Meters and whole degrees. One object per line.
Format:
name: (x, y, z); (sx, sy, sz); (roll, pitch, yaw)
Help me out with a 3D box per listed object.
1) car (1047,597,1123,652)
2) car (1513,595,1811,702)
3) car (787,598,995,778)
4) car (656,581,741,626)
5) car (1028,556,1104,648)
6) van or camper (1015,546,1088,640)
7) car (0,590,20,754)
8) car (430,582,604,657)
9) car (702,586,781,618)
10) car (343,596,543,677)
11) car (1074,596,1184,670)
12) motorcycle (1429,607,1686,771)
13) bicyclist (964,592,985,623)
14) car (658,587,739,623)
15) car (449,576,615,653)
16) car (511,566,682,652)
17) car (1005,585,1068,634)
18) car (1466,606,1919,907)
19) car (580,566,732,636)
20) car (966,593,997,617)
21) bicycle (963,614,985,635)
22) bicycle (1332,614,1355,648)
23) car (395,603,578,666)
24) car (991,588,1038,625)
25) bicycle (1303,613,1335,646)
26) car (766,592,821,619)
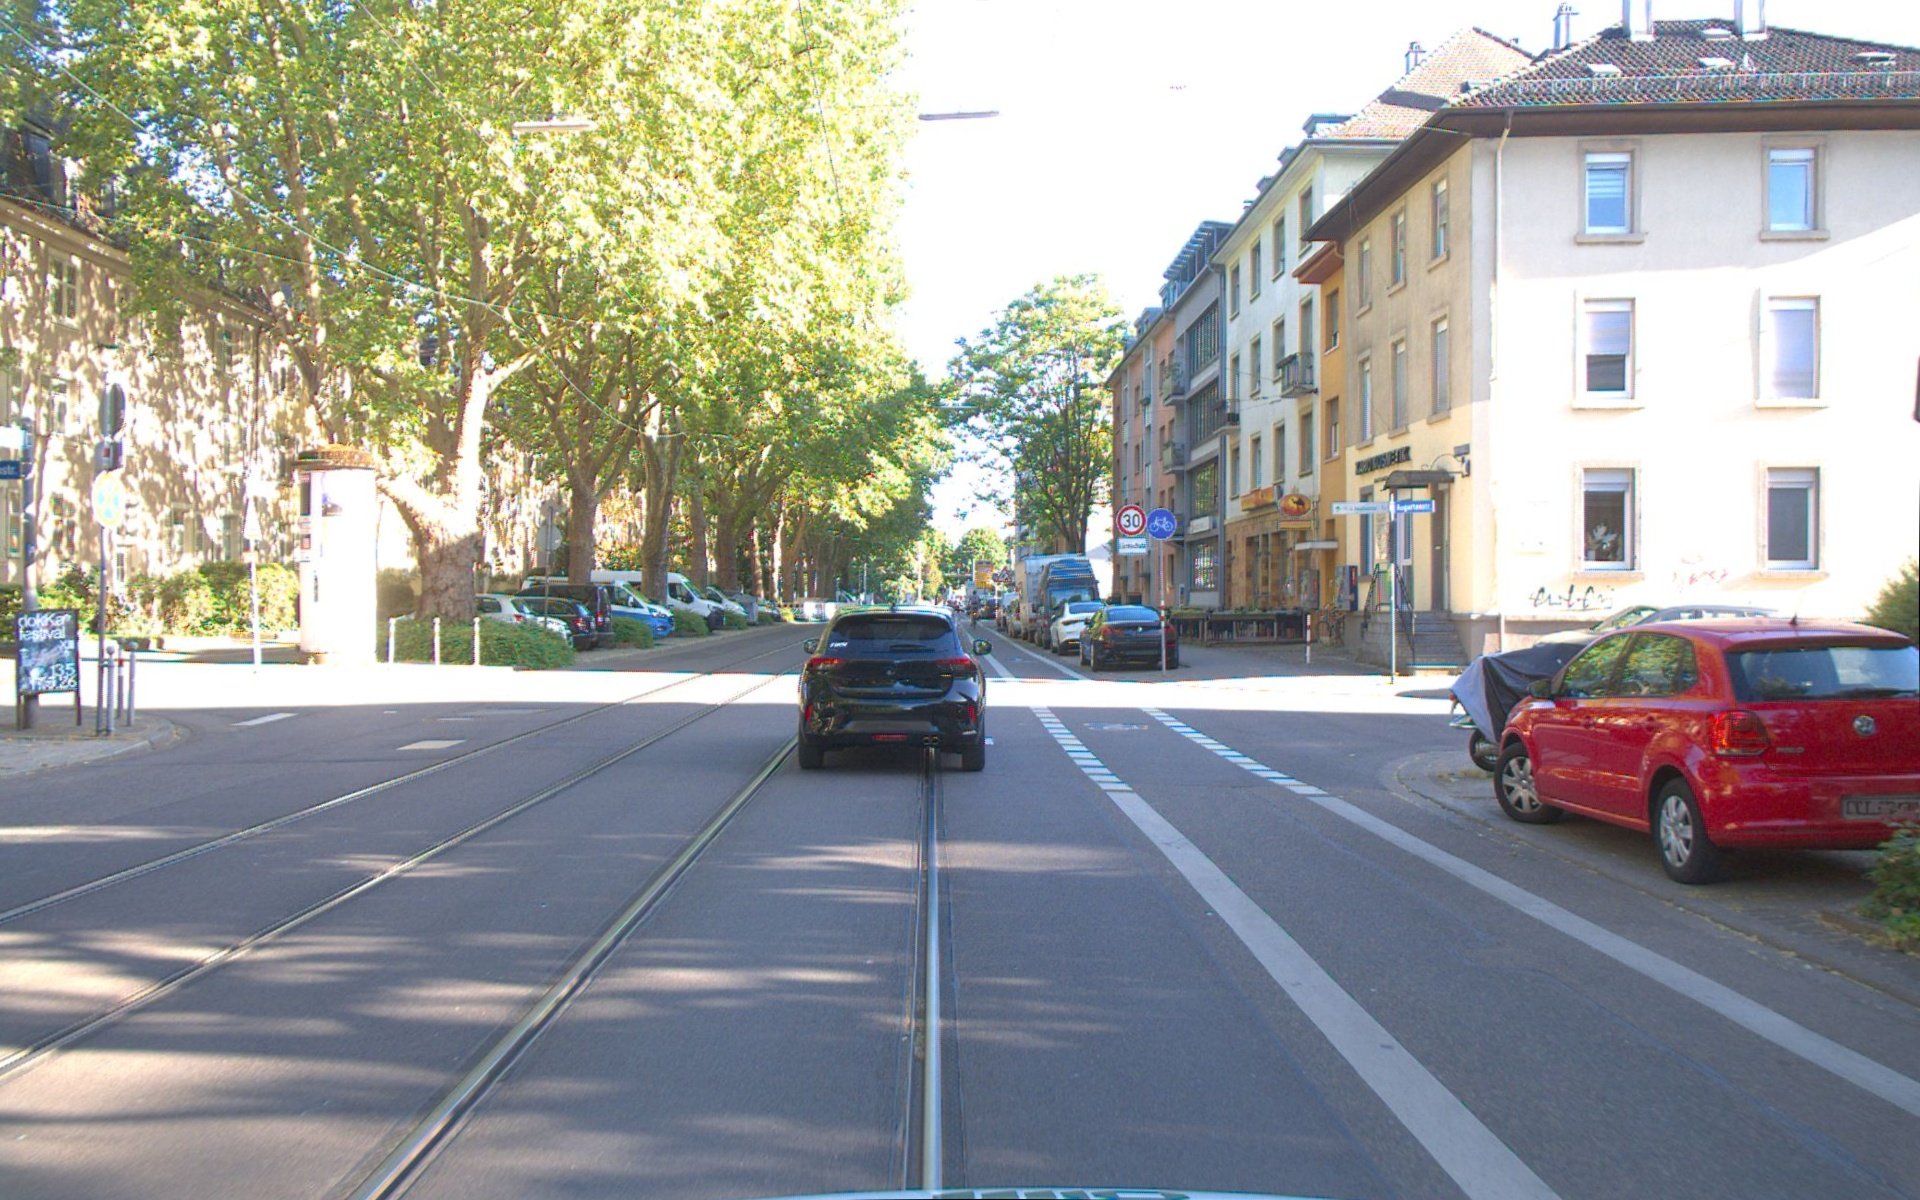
car: (3.486, 0.711, 46.794); (1.767, 1.459, 3.999); (-1, -1, -1)
car: (11.447, 0.763, 27.179); (4.100, 1.626, 1.891); (1, 0, 2)
car: (-0.606, 0.744, 15.941); (1.727, 1.486, 3.949); (1, 0, -1)
car: (-12.459, 0.146, 78.817); (3.914, 2.049, 1.995); (1, 0, -10)
car: (3.417, 0.037, 53.998); (2.043, 2.820, 4.696); (-1, 1, -1)
van or camper: (3.283, -0.244, 60.562); (2.208, 3.272, 5.530); (-1, 0, -1)
car: (-11.635, 0.699, 15.747); (4.214, 1.635, 1.924); (1, 0, -4)
car: (-11.739, 0.519, 44.058); (4.220, 1.703, 1.779); (-3, 0, -9)
car: (-12.204, 0.089, 92.125); (4.275, 1.694, 1.995); (1, 0, -10)
car: (-12.236, 0.848, 39.394); (4.220, 1.621, 1.779); (-3, 0, -9)
car: (3.681, 0.693, 36.703); (1.846, 1.459, 4.529); (-2, 0, -1)
motorcycle: (5.265, 0.785, 14.737); (2.046, 1.382, 0.924); (-2, -1, 16)
bicyclist: (0.709, 0.384, 82.192); (0.939, 1.525, 1.093); (1, 0, -3)
car: (-13.678, 0.271, 86.568); (4.100, 1.825, 1.995); (1, 0, -10)
car: (-11.943, 0.405, 46.383); (4.220, 1.873, 1.779); (-3, 0, -9)
car: (-11.611, 0.277, 53.086); (4.934, 2.415, 2.081); (-3, 0, -1)
car: (3.068, 0.382, 67.754); (2.208, 1.873, 5.530); (-1, 0, -1)
car: (4.764, 0.815, 10.576); (1.668, 1.448, 3.977); (-3, 0, -2)
car: (-12.054, 0.028, 65.794); (5.521, 2.638, 2.197); (1, 0, 3)
car: (1.686, 0.392, 130.780); (2.208, 1.873, 5.530); (-1, 0, -1)
bicycle: (0.708, 1.207, 82.235); (0.948, 1.016, 2.582); (1, 0, -2)
bicycle: (9.562, 0.758, 41.279); (0.464, 0.803, 1.793); (1, 0, 11)
car: (-11.961, 0.866, 42.018); (4.220, 1.313, 1.707); (-3, 0, -9)
car: (2.896, 0.319, 88.837); (2.208, 1.873, 5.530); (-1, 0, -1)
bicycle: (9.207, 0.753, 42.453); (0.401, 0.803, 1.791); (1, 0, -1)
car: (-12.892, 0.440, 128.338); (3.902, 2.049, 2.001); (1, 0, 5)
